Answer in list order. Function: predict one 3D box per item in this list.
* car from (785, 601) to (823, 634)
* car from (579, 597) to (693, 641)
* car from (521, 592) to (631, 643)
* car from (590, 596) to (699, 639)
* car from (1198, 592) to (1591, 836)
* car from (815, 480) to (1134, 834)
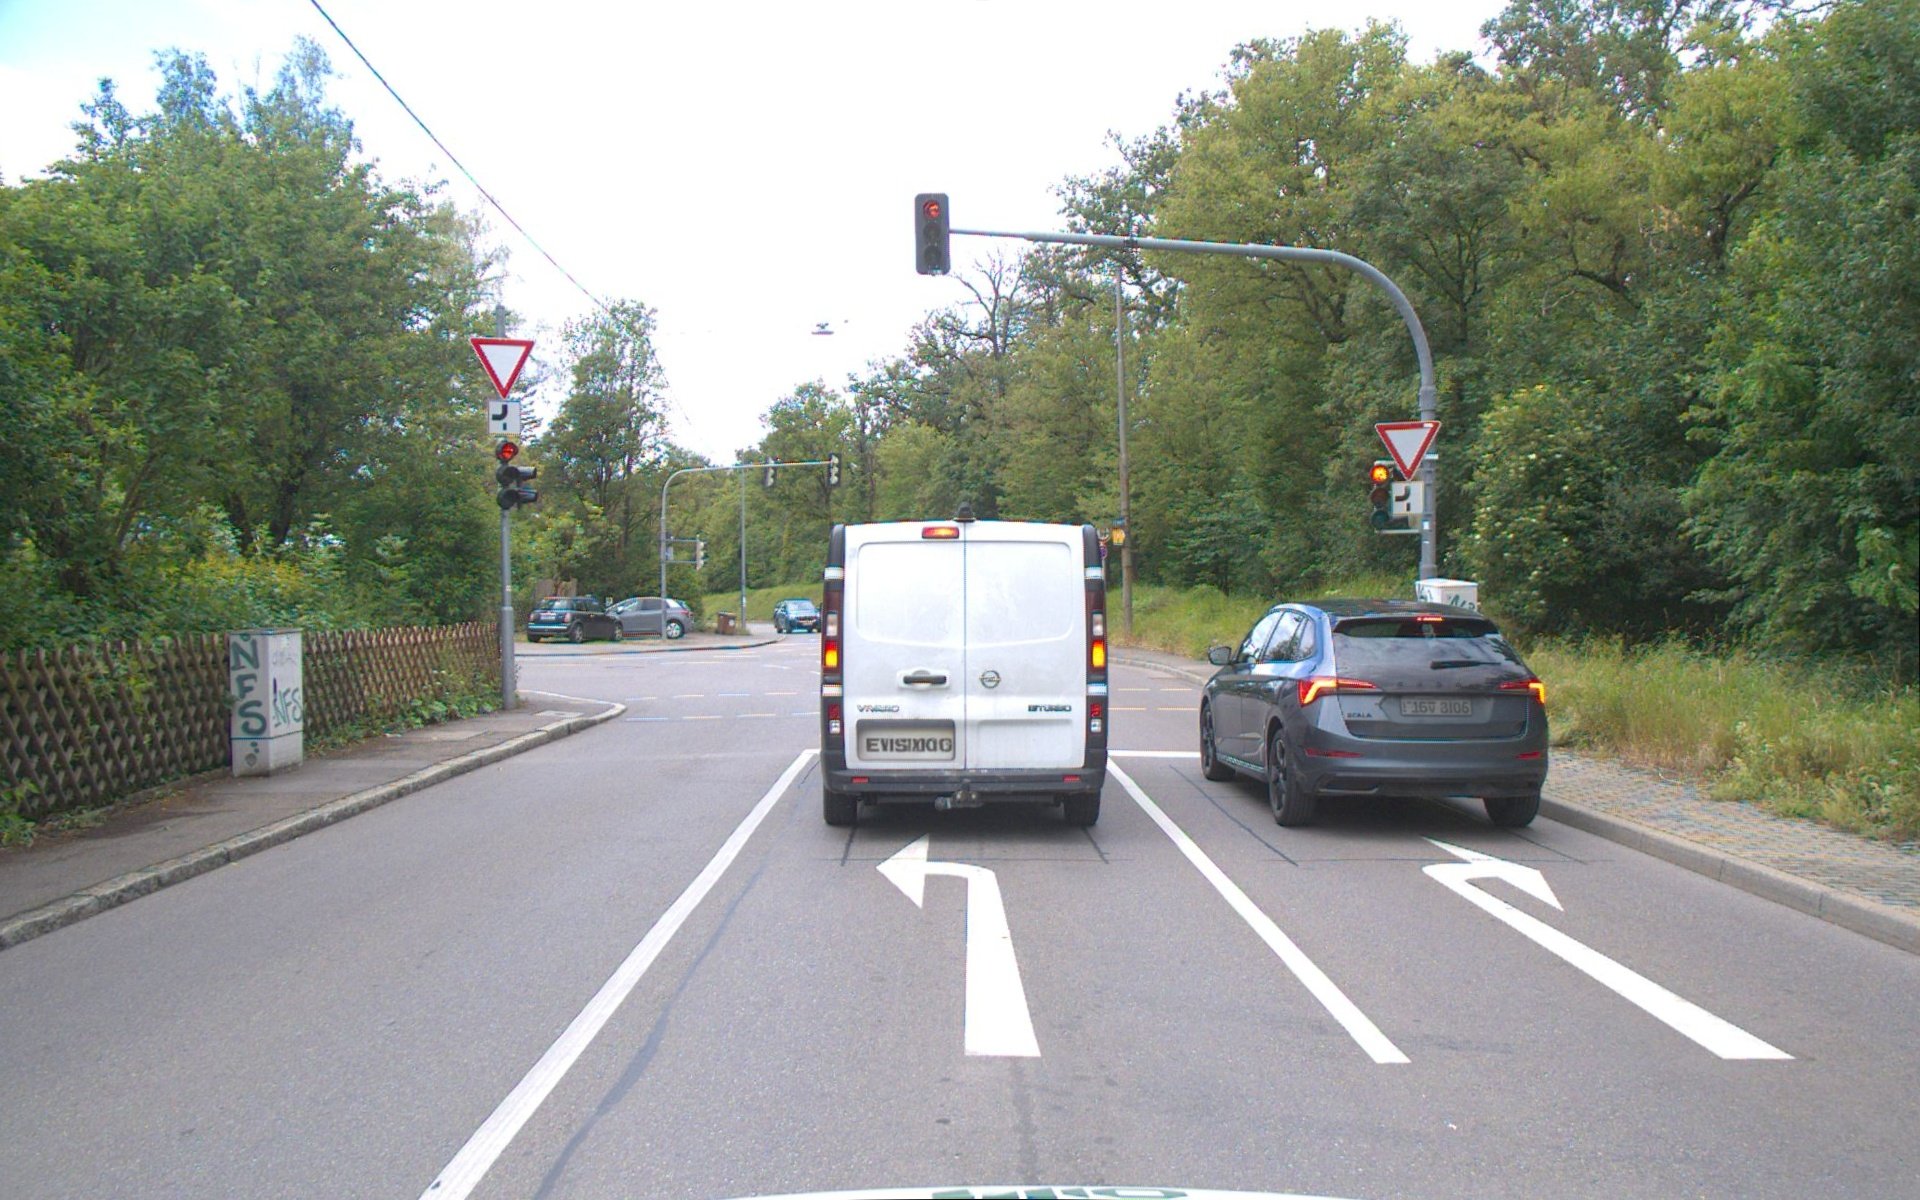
[{"bbox_3d":[-7.776,0.851,82.566,1.820,1.533,3.996,-1,0,-5],"label":"car"},{"bbox_3d":[-12.101,0.689,61.680,4.022,1.580,1.846,0,1,-18],"label":"car"},{"bbox_3d":[-11.875,0.539,51.384,1.662,1.474,3.544,2,0,19],"label":"car"},{"bbox_3d":[-12.343,0.668,64.665,4.022,1.580,1.846,0,1,-18],"label":"car"},{"bbox_3d":[2.936,0.683,12.072,1.756,1.476,3.999,0,0,-1],"label":"car"},{"bbox_3d":[-0.017,0.336,12.258,1.878,2.089,4.611,1,0,-3],"label":"car"}]
